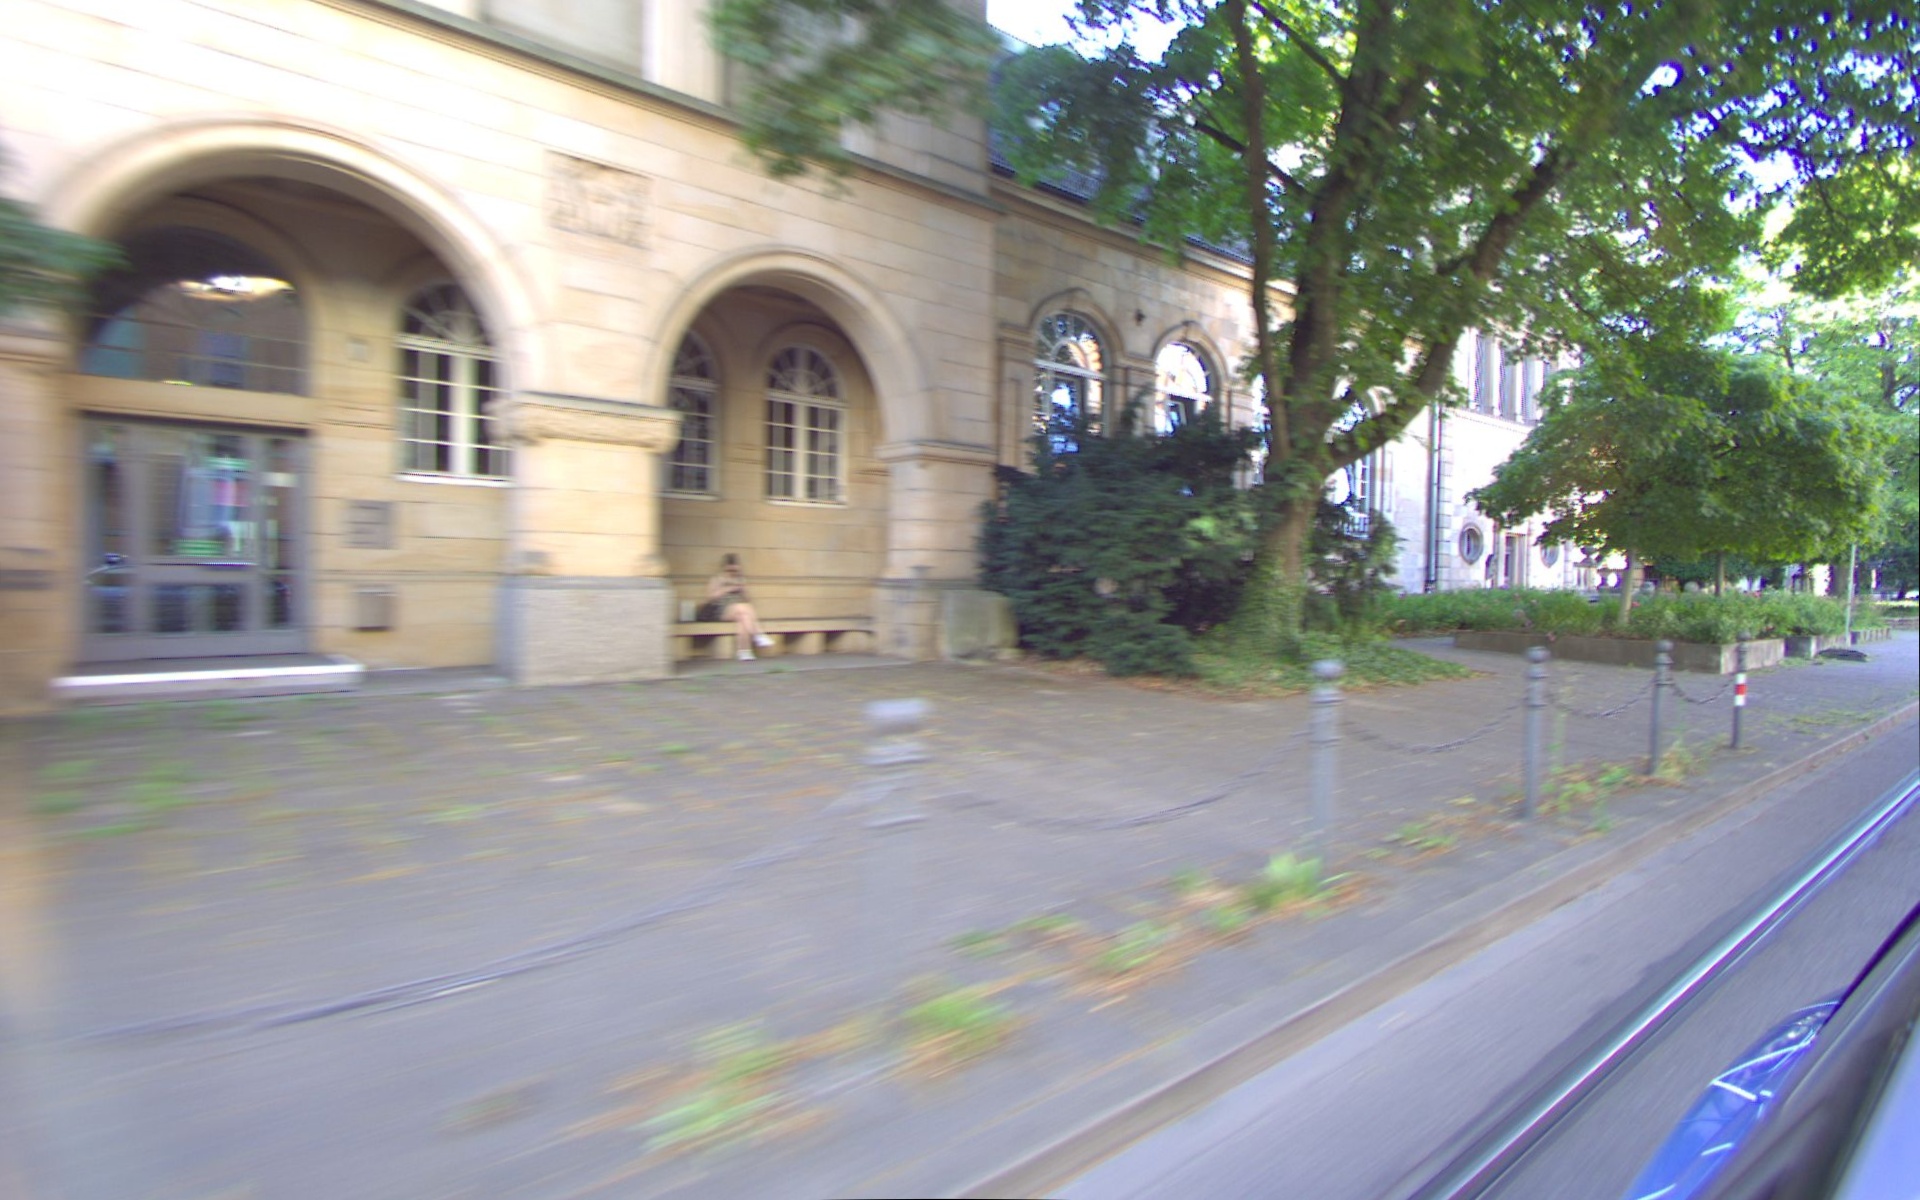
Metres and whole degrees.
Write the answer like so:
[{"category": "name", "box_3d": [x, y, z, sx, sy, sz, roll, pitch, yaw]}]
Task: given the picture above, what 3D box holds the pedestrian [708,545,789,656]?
[{"category": "pedestrian", "box_3d": [-2.731, 0.004, 13.050, 0.655, 1.372, 0.982, 0, 0, -38]}]
